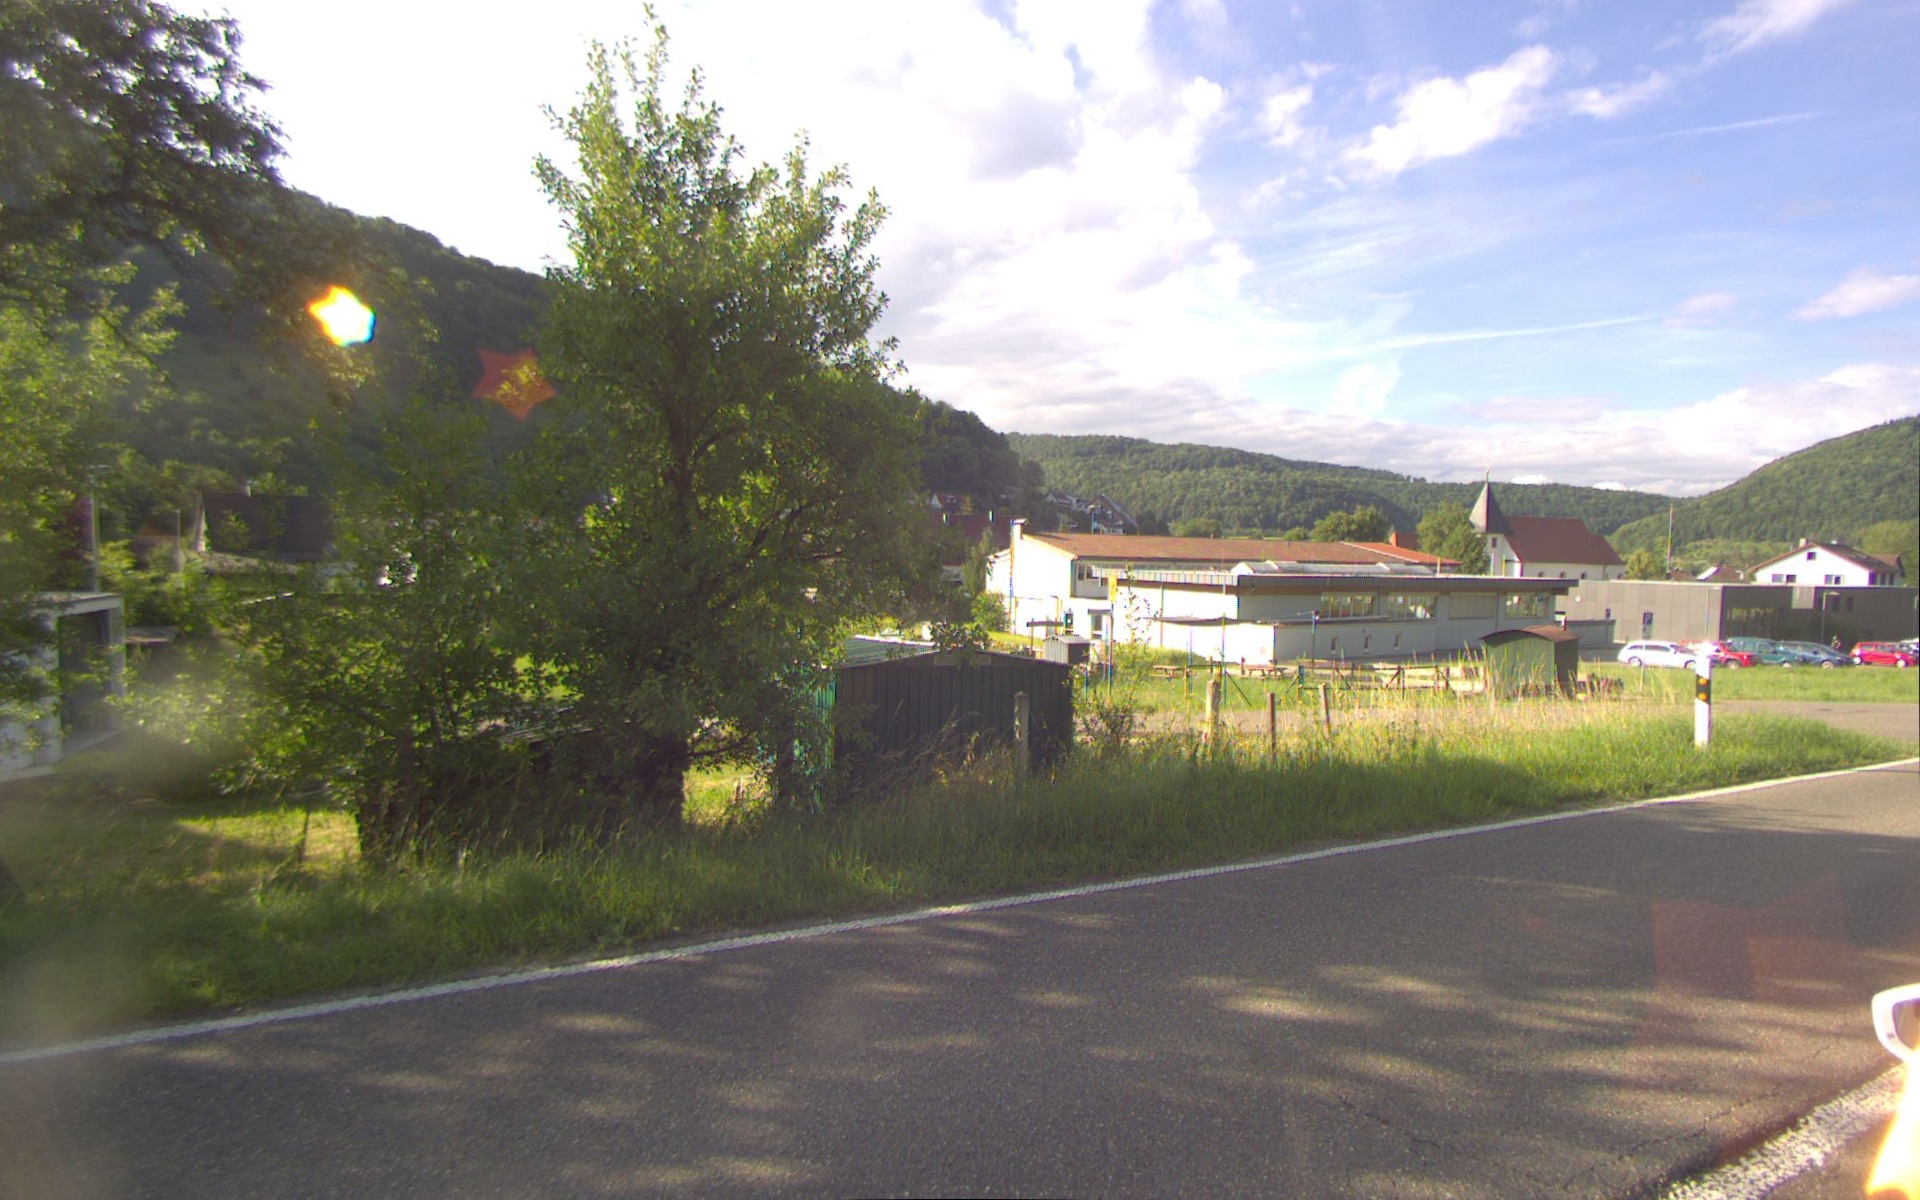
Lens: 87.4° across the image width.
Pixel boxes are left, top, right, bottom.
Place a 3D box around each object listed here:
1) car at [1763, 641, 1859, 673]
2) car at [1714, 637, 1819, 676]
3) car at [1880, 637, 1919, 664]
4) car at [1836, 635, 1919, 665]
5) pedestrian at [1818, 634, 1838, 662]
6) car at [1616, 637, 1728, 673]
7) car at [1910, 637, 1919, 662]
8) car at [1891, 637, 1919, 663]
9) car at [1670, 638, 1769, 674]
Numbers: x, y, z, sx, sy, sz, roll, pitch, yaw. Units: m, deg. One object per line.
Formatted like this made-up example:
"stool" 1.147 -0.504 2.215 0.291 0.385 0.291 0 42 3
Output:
"car" 51.291 3.409 60.602 1.978 1.733 3.965 2 0 -32
"car" 47.320 3.278 59.024 1.978 2.034 4.382 2 0 -32
"car" 64.766 3.416 67.497 1.978 1.733 3.965 2 0 -32
"car" 60.445 3.275 65.974 1.978 1.733 3.965 2 0 -32
"pedestrian" 65.042 3.571 75.300 0.962 2.040 0.821 2 0 -30
"car" 39.499 3.020 55.849 1.978 1.733 4.705 2 0 -32
"car" 70.480 3.613 71.329 1.978 1.733 3.965 2 0 -32
"car" 67.641 3.517 69.760 1.978 1.733 3.965 2 0 -32
"car" 42.541 3.116 56.330 1.978 1.733 3.965 2 0 -32
